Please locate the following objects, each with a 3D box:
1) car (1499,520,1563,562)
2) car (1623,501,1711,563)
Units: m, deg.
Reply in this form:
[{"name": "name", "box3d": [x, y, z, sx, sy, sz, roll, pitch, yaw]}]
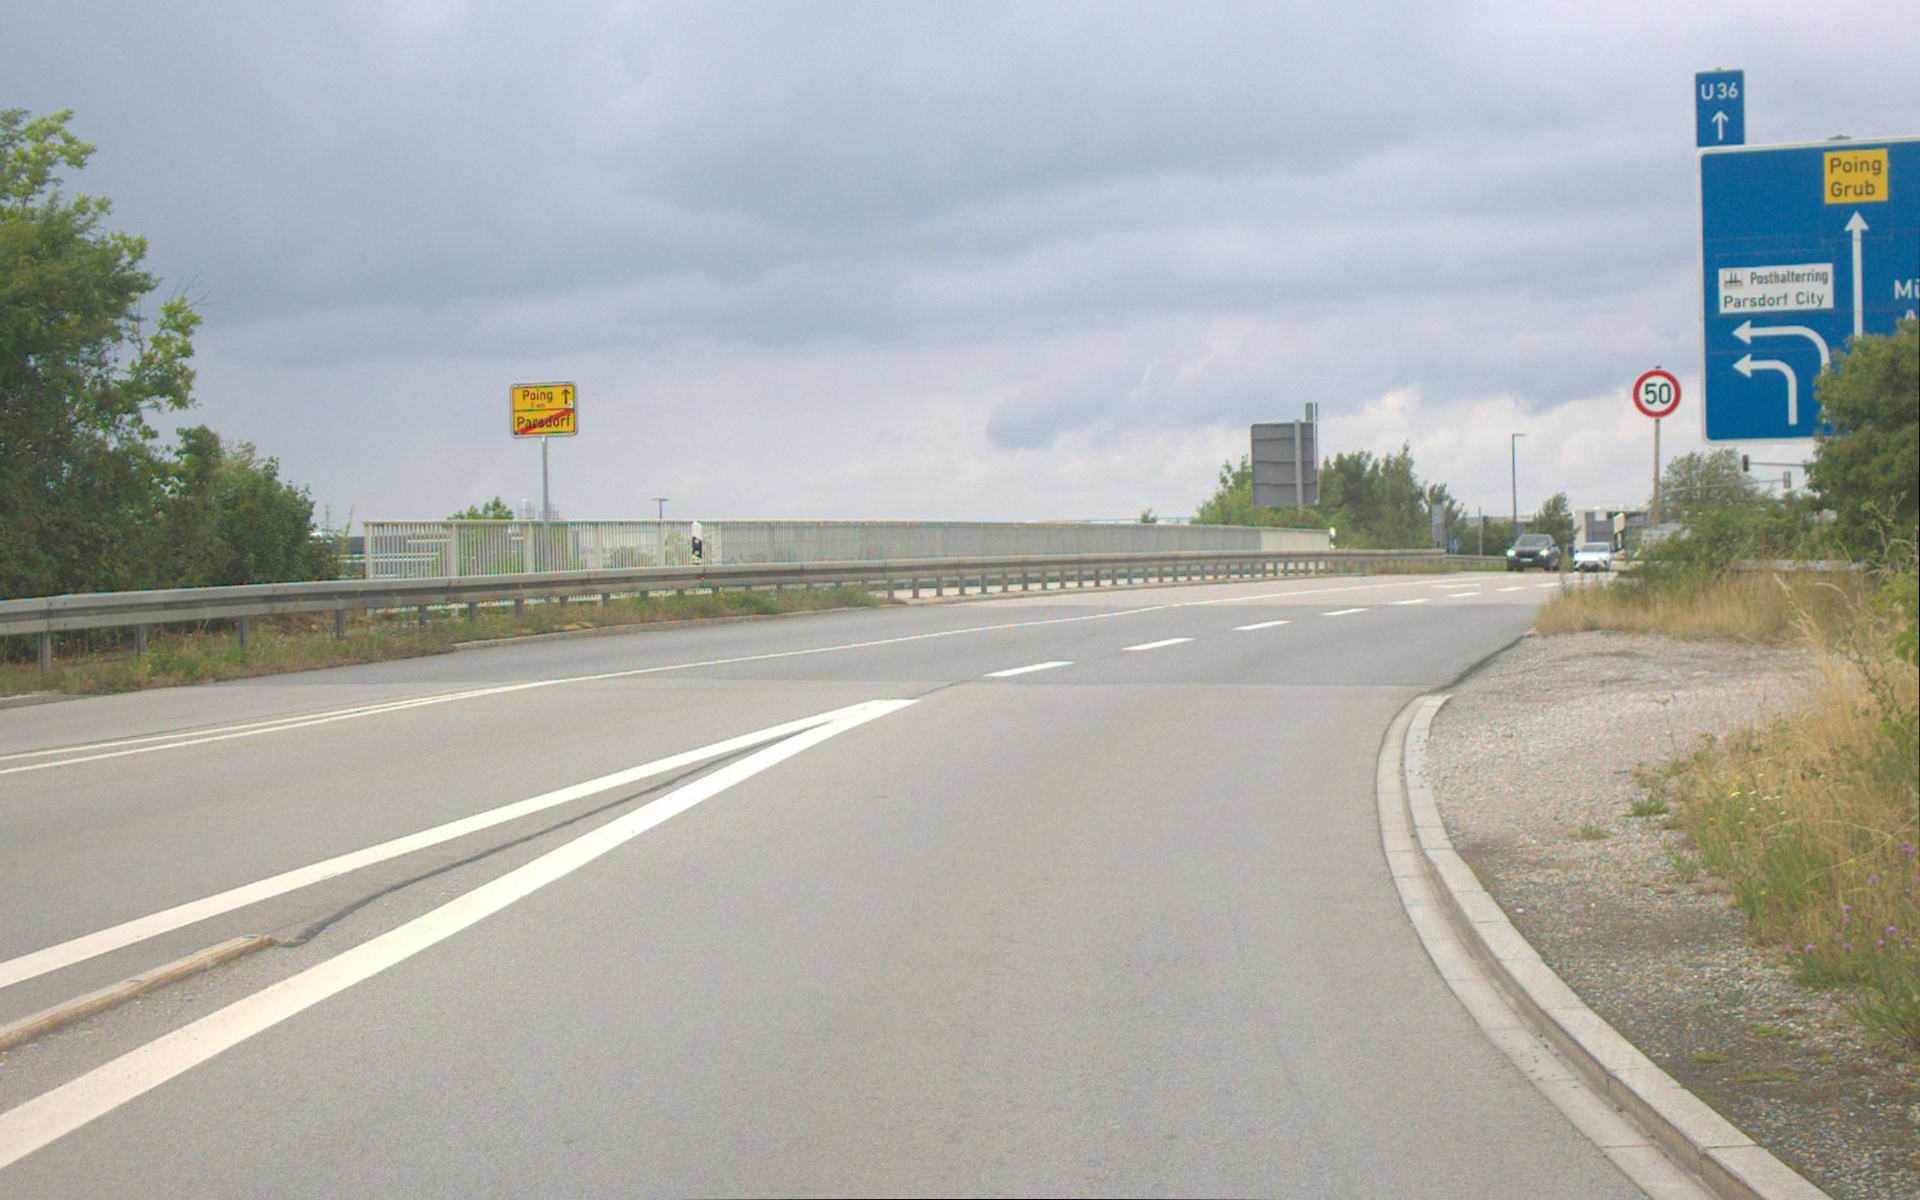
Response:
[{"name": "car", "box3d": [26.215, -2.703, 157.766, 1.996, 1.726, 4.757, 5, 2, 20]}, {"name": "car", "box3d": [17.388, -1.673, 84.457, 1.519, 1.480, 3.612, 0, 1, 21]}]
